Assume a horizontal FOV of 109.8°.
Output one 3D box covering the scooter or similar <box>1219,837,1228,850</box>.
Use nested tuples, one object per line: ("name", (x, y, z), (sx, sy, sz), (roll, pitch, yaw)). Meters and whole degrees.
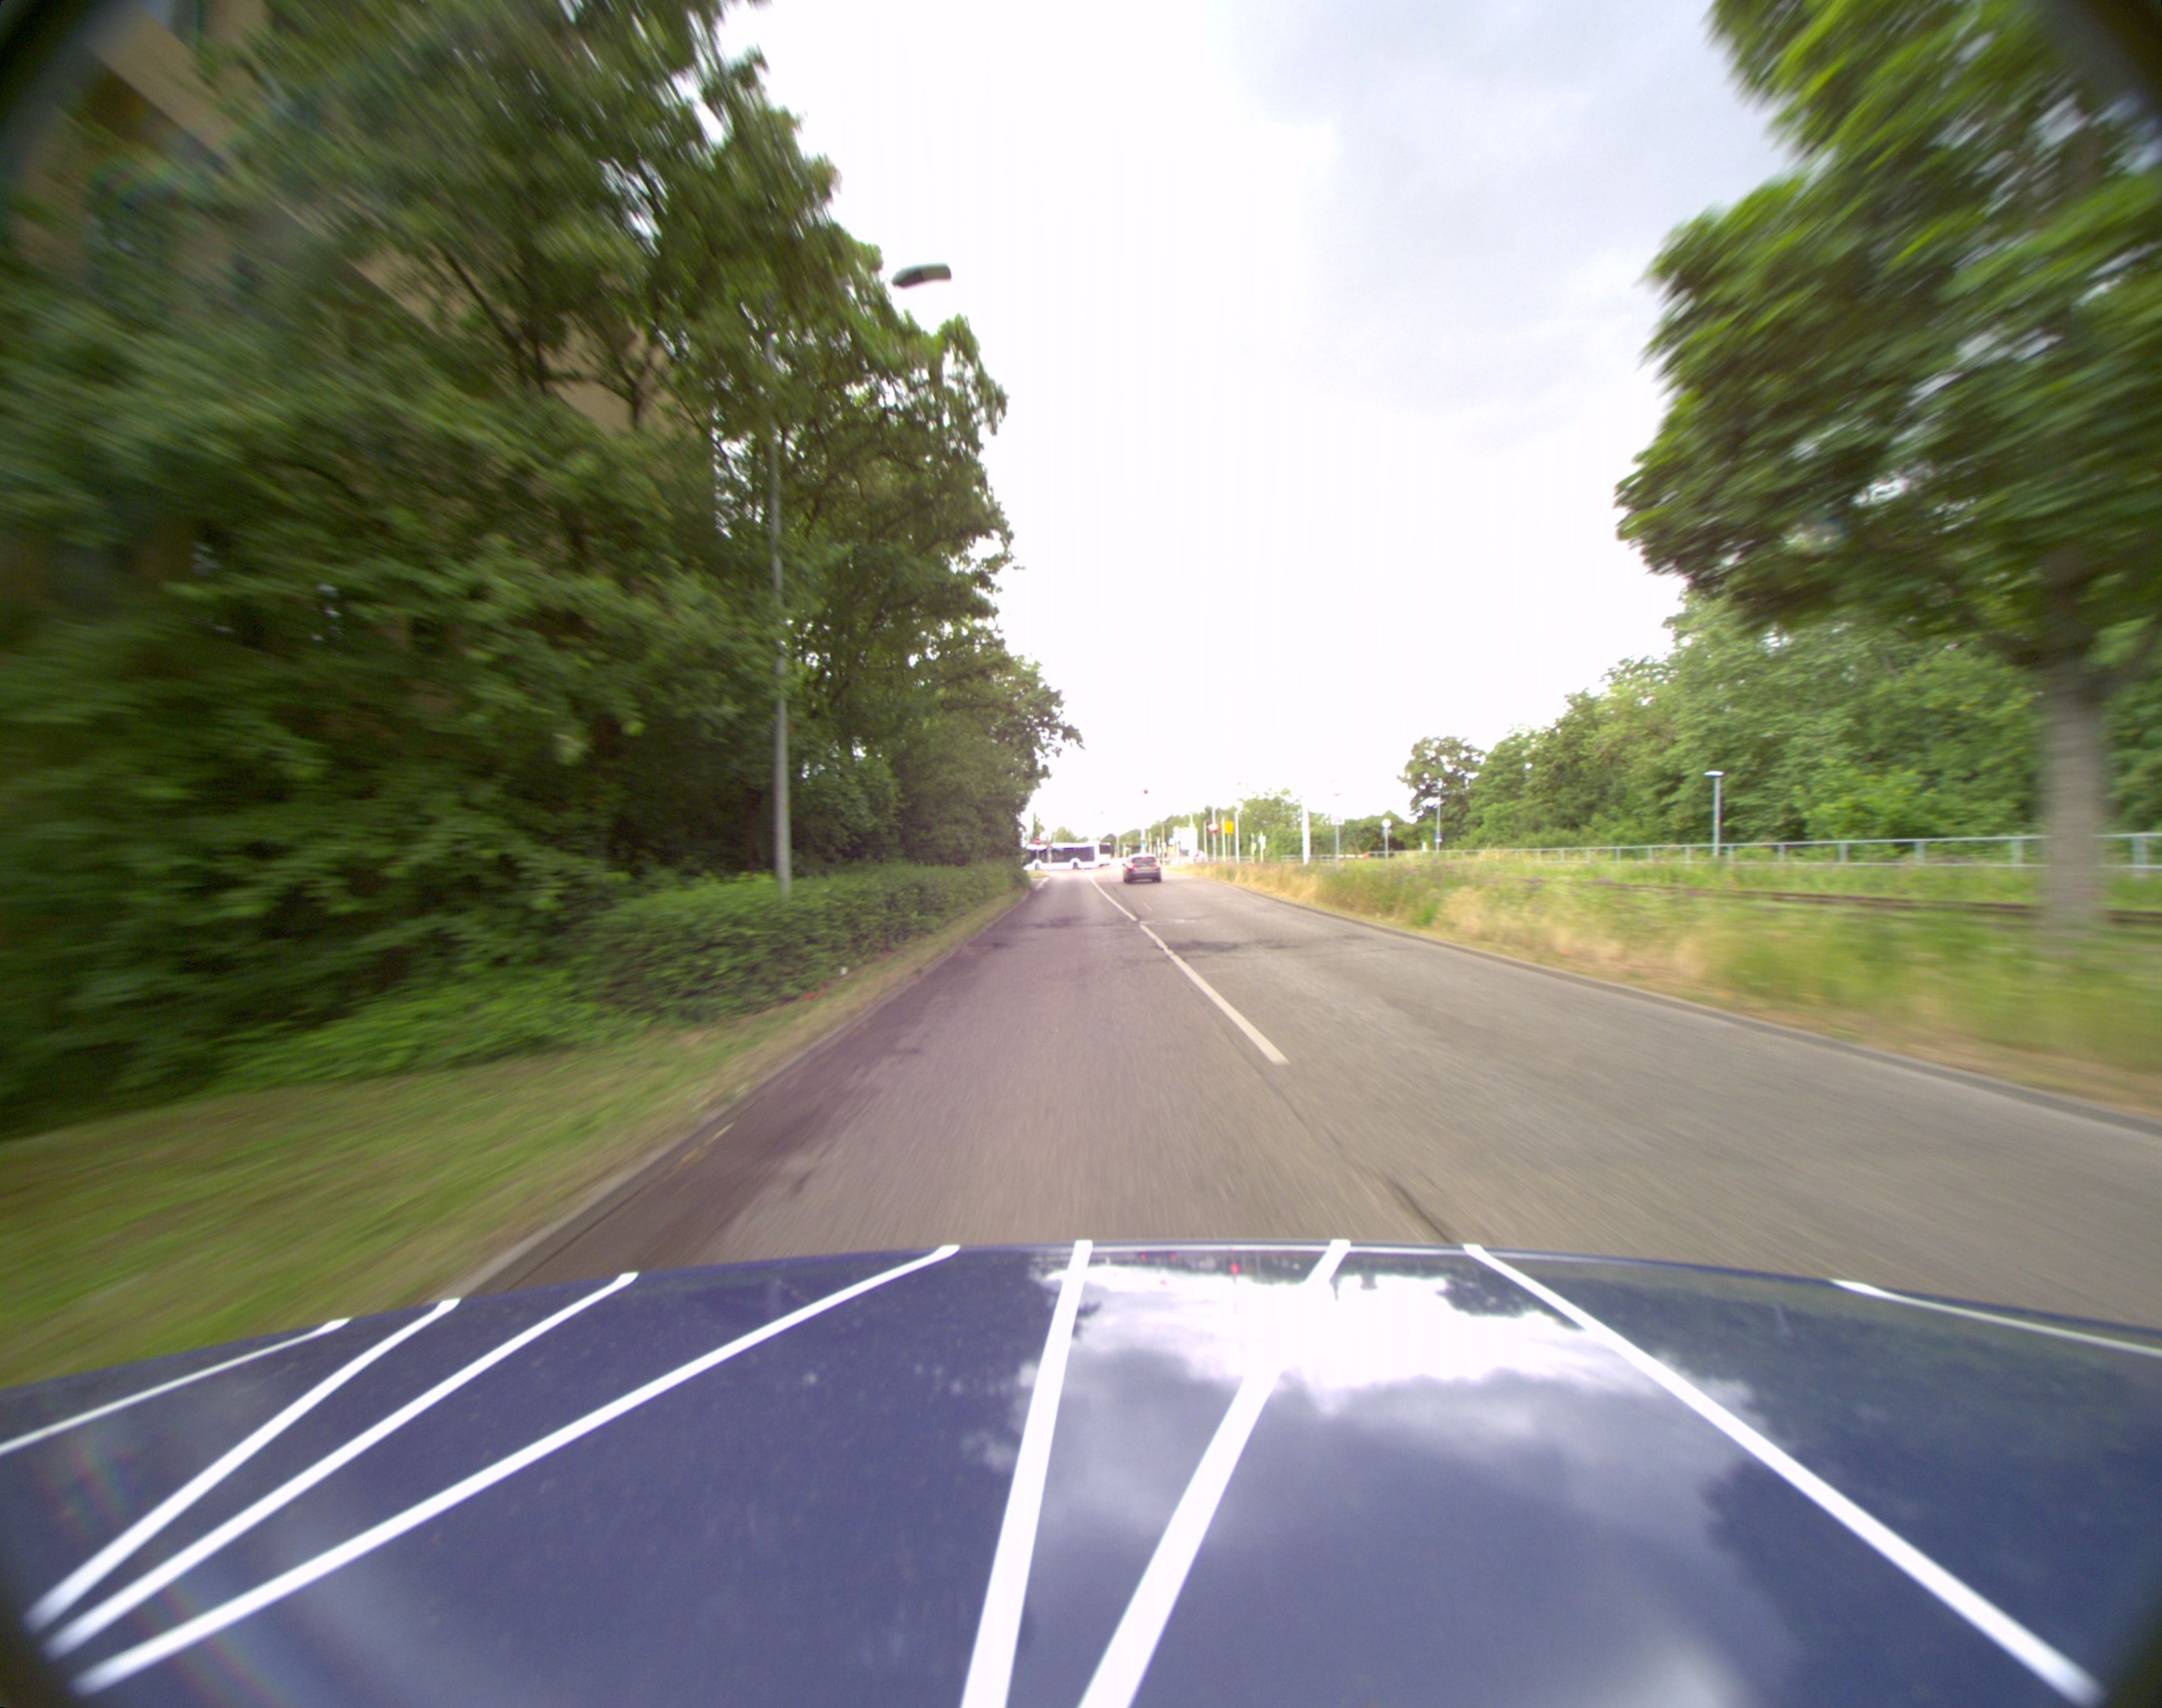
("scooter or similar", (14.118, -1.014, 75.455), (0.412, 1.264, 1.268), (-2, 0, -11))

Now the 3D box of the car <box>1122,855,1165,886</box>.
("car", (3.232, 0.836, 40.125), (1.760, 1.426, 4.428), (-3, 0, -1))

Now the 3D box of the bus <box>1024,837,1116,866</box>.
("bus", (-1.485, -0.271, 90.762), (12.164, 3.184, 2.680), (-1, 1, 41))
